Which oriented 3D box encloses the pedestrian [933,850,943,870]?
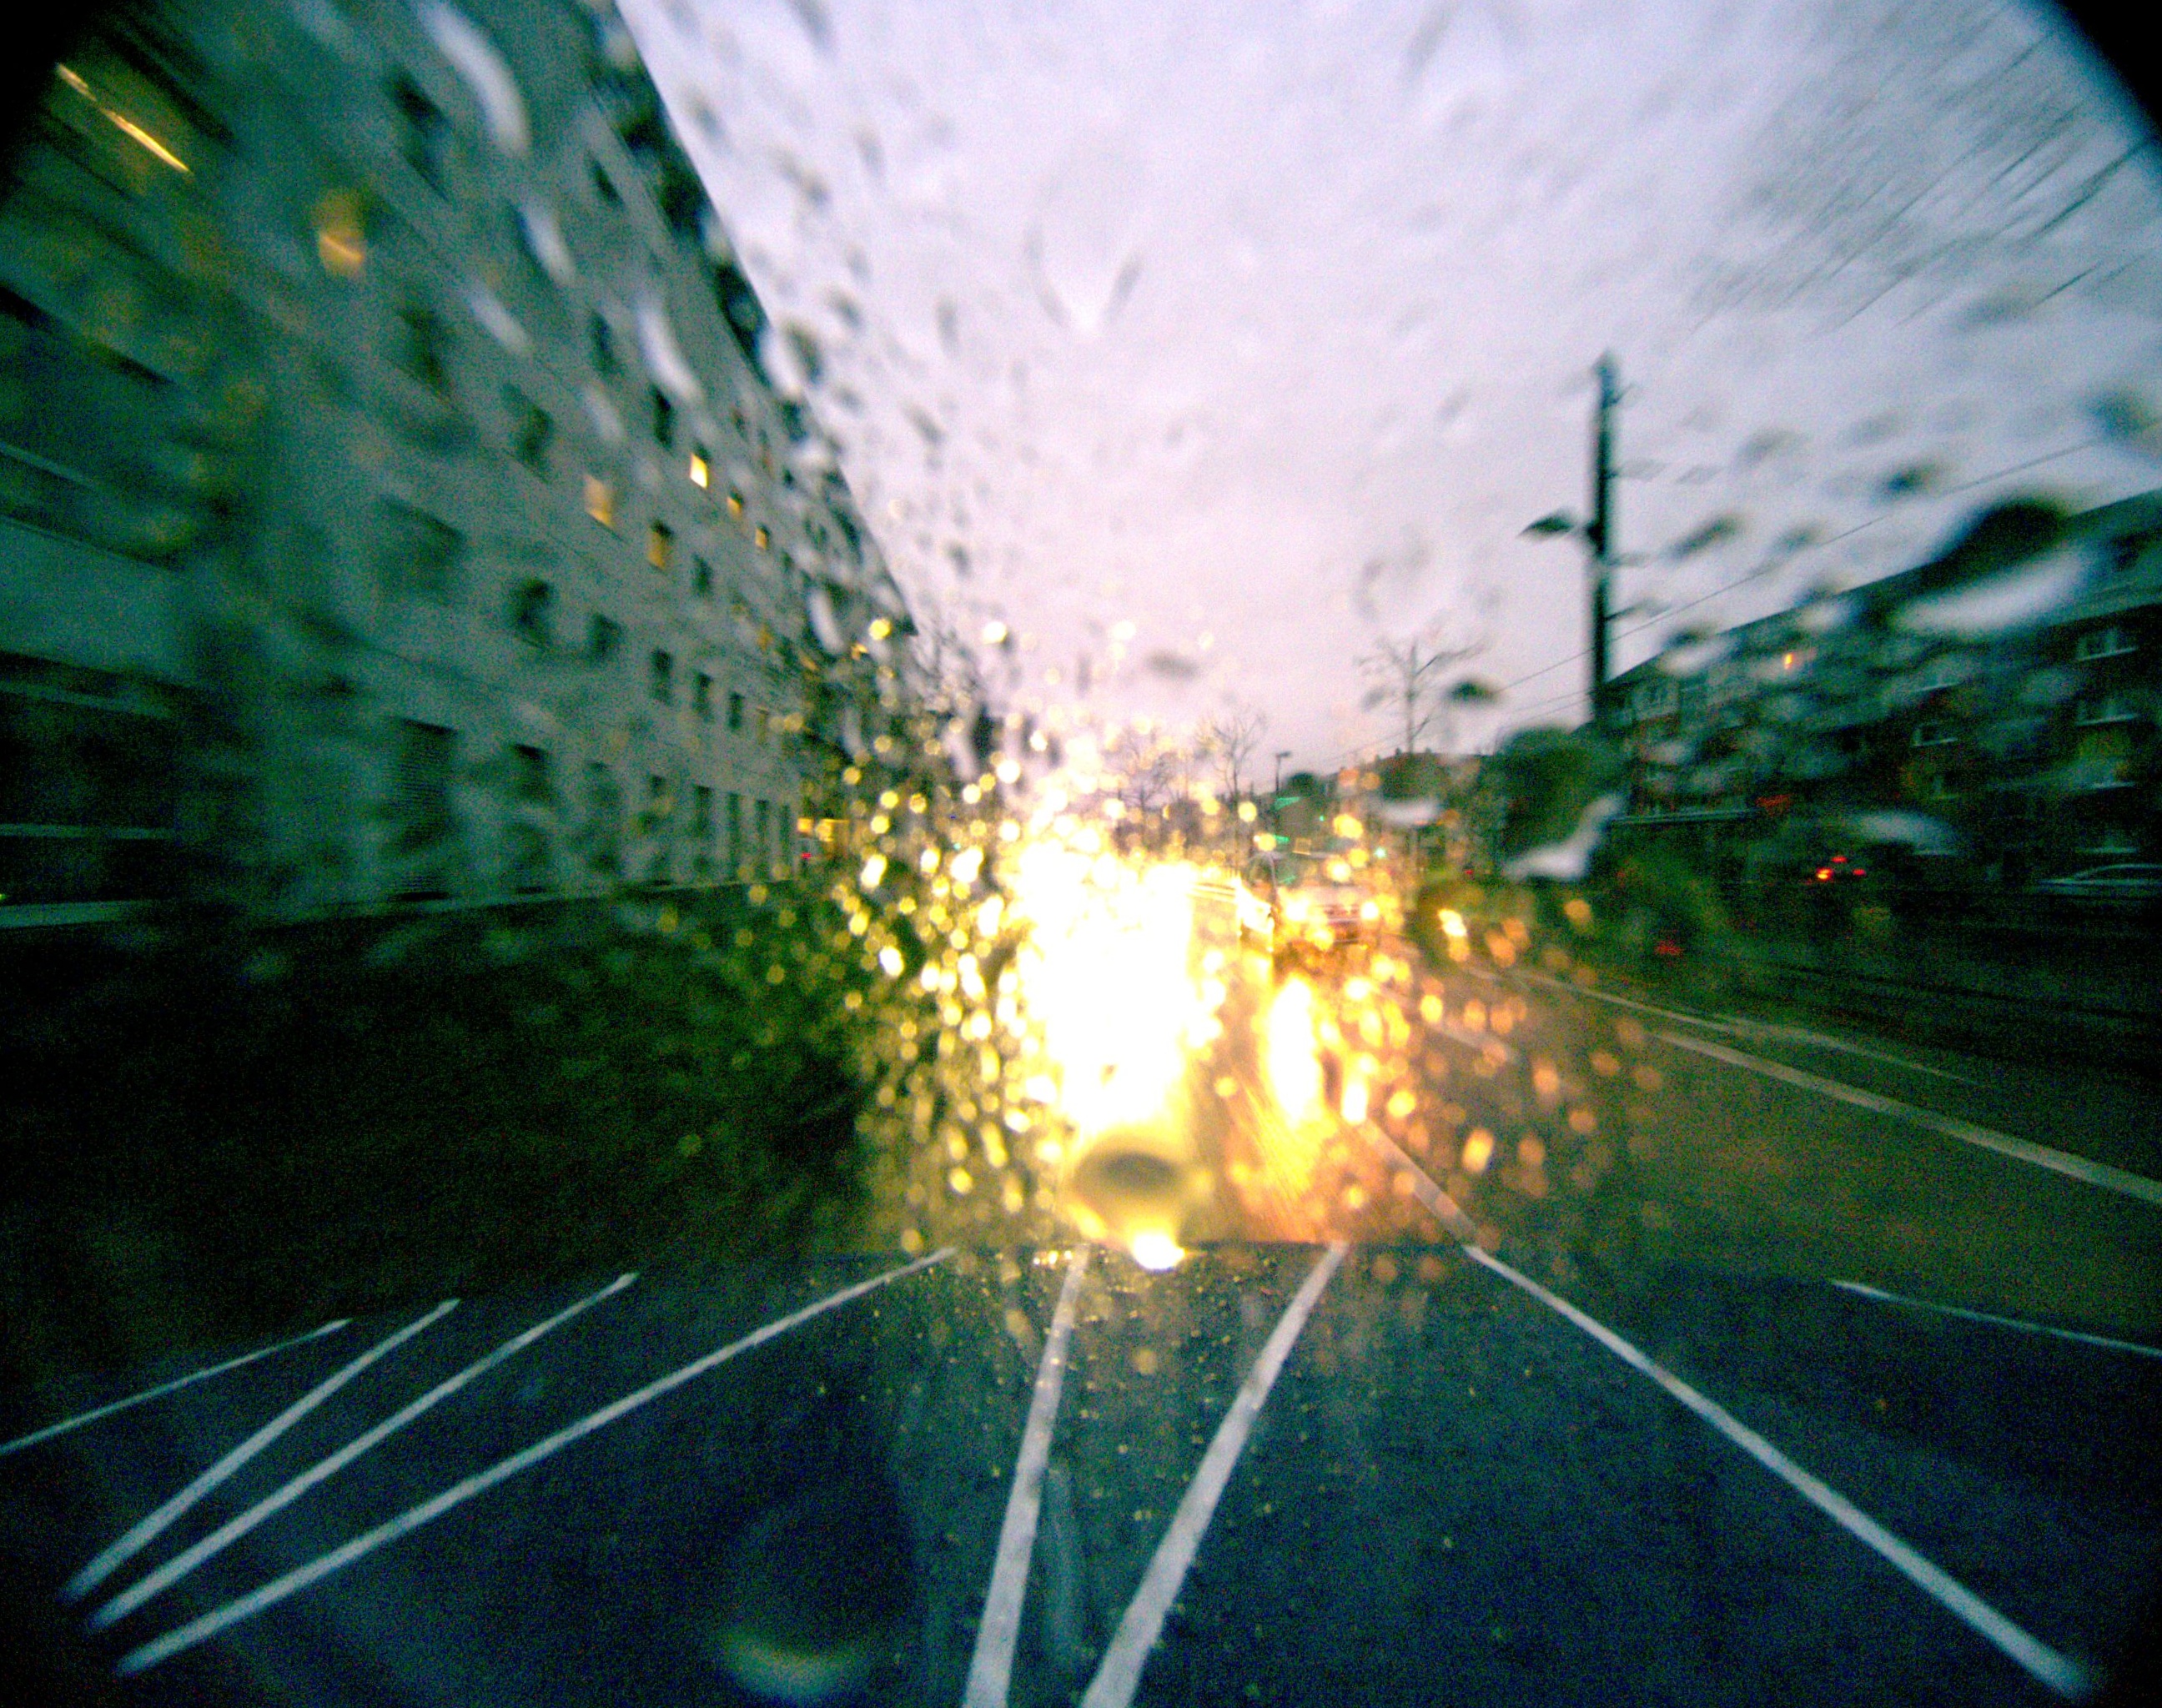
[{"bbox_3d":[-12.519,0.534,66.392,0.739,1.726,0.702,-2,2,-7],"label":"pedestrian"}]

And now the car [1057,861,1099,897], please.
[{"bbox_3d":[-0.196,1.172,37.366,1.764,1.520,3.732,-2,1,-4],"label":"car"}]

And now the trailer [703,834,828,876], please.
[{"bbox_3d":[-14.990,0.066,36.284,5.080,1.900,2.131,0,-1,1],"label":"trailer"}]

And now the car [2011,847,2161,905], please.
[{"bbox_3d":[30.861,0.610,22.350,1.730,1.535,4.148,-2,1,-6],"label":"car"}]

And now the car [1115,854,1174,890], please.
[{"bbox_3d":[2.780,0.768,34.180,1.976,1.492,4.089,-2,0,-5],"label":"car"}]

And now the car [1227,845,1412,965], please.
[{"bbox_3d":[3.825,0.719,12.960,2.020,1.667,4.000,-1,1,3],"label":"car"}]

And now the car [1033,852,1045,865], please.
[{"bbox_3d":[-5.651,0.634,101.902,1.494,1.585,3.998,-2,1,-3],"label":"car"}]

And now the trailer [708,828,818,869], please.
[{"bbox_3d":[-20.725,-0.350,49.802,6.278,2.566,2.208,0,0,-8],"label":"trailer"}]

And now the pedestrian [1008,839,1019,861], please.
[{"bbox_3d":[-5.732,-0.340,64.216,0.773,1.798,0.698,4,1,-7],"label":"pedestrian"}]

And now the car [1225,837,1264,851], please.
[{"bbox_3d":[26.622,-1.592,123.707,5.894,2.242,1.824,-1,2,29],"label":"car"}]

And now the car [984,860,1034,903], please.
[{"bbox_3d":[-2.474,0.914,26.567,1.596,1.386,3.485,1,0,-4],"label":"car"}]

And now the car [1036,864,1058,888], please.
[{"bbox_3d":[-2.640,1.684,59.737,1.610,1.666,3.684,-1,1,-1],"label":"car"}]

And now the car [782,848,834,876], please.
[{"bbox_3d":[-14.880,0.404,41.603,1.637,1.363,4.527,2,1,-6],"label":"car"}]

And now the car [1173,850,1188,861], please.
[{"bbox_3d":[15.381,0.264,117.320,1.527,1.630,3.747,0,1,-5],"label":"car"}]

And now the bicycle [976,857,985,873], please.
[{"bbox_3d":[-7.352,0.780,55.513,0.552,1.109,2.165,1,1,-4],"label":"bicycle"}]

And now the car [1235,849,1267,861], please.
[{"bbox_3d":[23.621,0.131,105.583,4.002,1.496,1.315,0,2,31],"label":"car"}]

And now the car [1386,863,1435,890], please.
[{"bbox_3d":[24.705,1.653,57.180,1.696,1.749,3.997,-2,1,-4],"label":"car"}]

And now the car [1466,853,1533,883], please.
[{"bbox_3d":[22.469,0.733,40.916,1.692,1.427,3.235,-1,1,-2],"label":"car"}]

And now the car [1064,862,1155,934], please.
[{"bbox_3d":[0.561,0.949,17.861,1.757,1.418,3.802,-1,0,-4],"label":"car"}]

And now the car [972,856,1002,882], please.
[{"bbox_3d":[-5.728,0.876,46.501,1.600,1.432,4.226,-2,1,-4],"label":"car"}]
